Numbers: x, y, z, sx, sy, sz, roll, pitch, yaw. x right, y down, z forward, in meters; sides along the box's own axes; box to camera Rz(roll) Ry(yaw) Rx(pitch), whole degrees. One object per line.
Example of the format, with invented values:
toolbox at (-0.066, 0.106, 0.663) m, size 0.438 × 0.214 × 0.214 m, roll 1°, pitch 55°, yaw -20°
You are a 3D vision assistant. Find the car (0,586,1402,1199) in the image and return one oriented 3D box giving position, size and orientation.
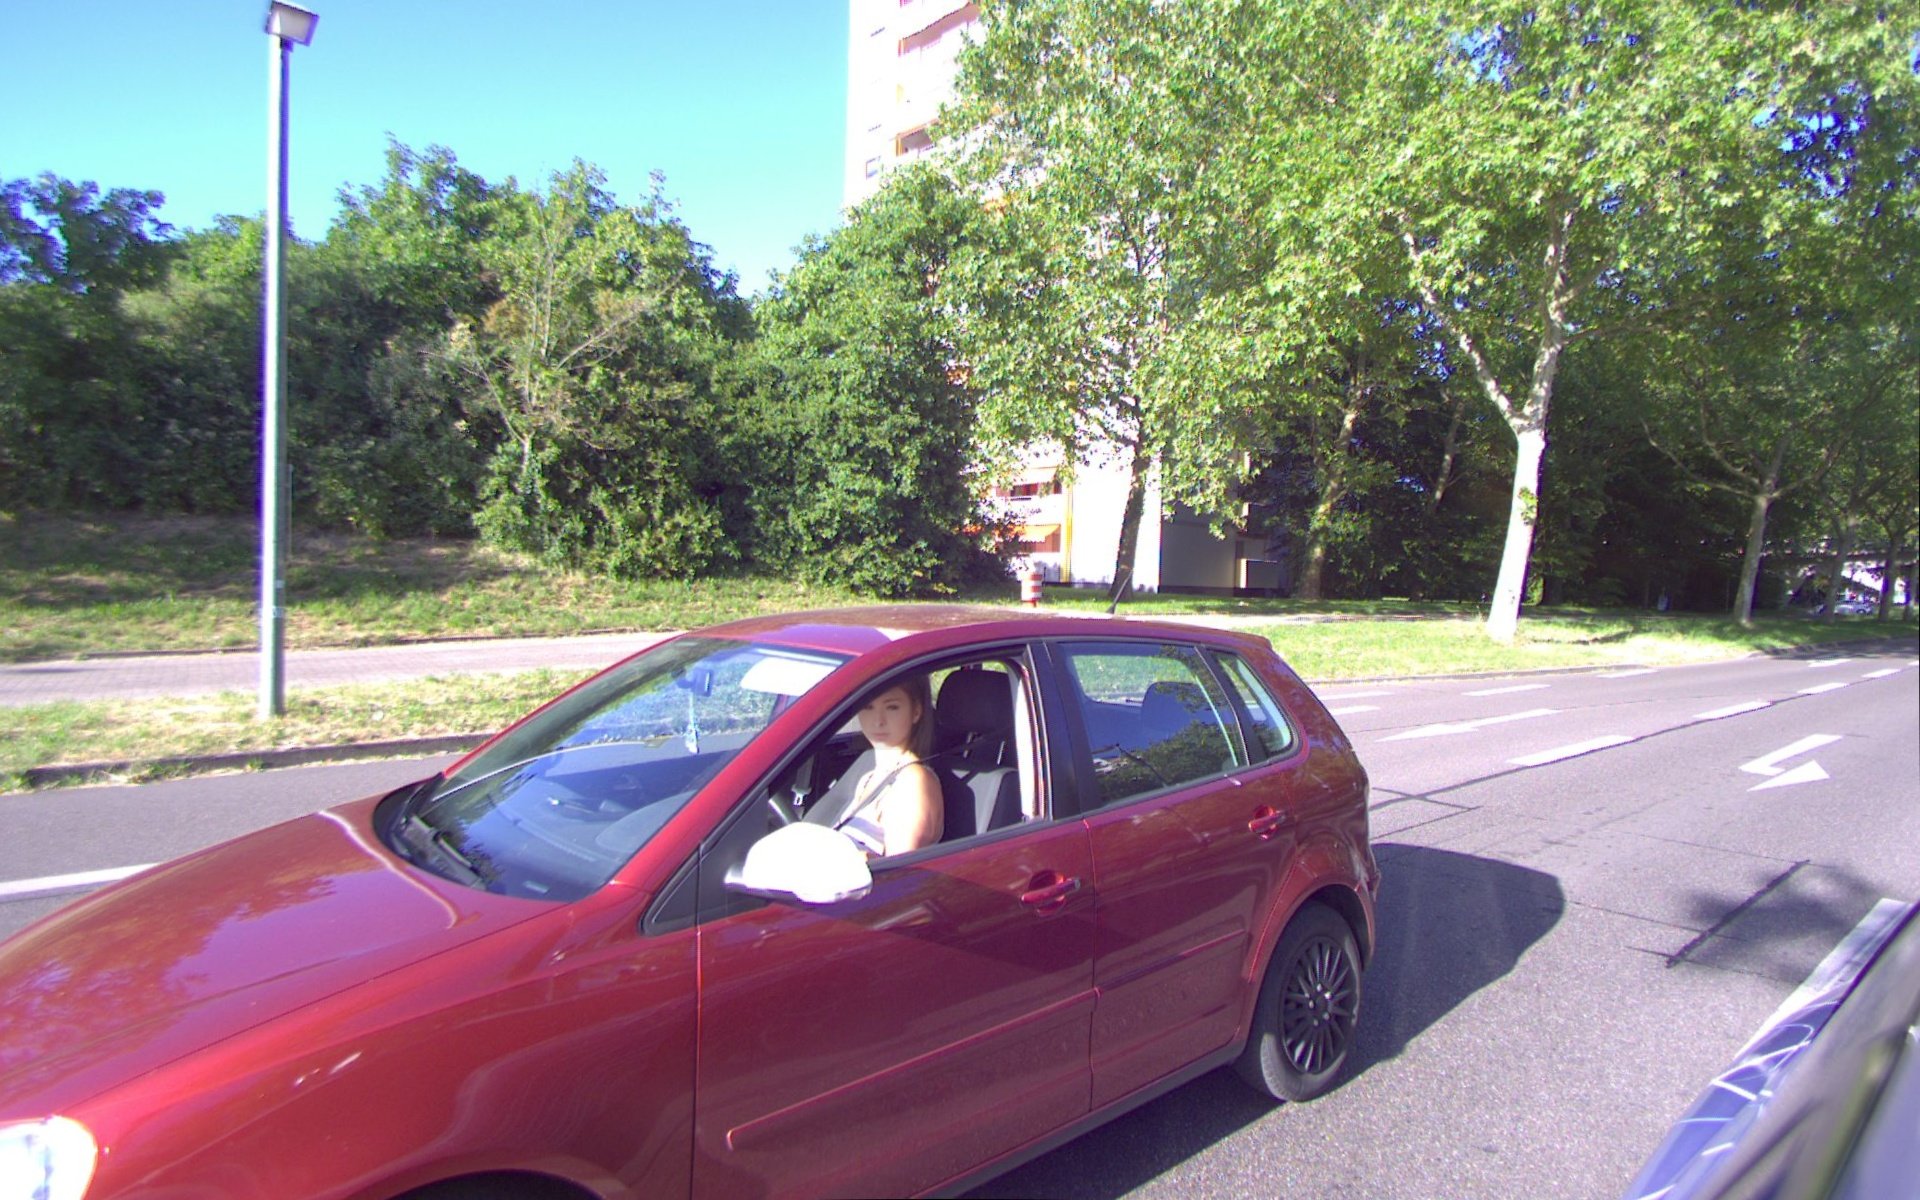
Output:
car at (-0.447, 0.709, 2.732) m, size 3.624 × 1.479 × 1.579 m, roll -1°, pitch 0°, yaw -40°
